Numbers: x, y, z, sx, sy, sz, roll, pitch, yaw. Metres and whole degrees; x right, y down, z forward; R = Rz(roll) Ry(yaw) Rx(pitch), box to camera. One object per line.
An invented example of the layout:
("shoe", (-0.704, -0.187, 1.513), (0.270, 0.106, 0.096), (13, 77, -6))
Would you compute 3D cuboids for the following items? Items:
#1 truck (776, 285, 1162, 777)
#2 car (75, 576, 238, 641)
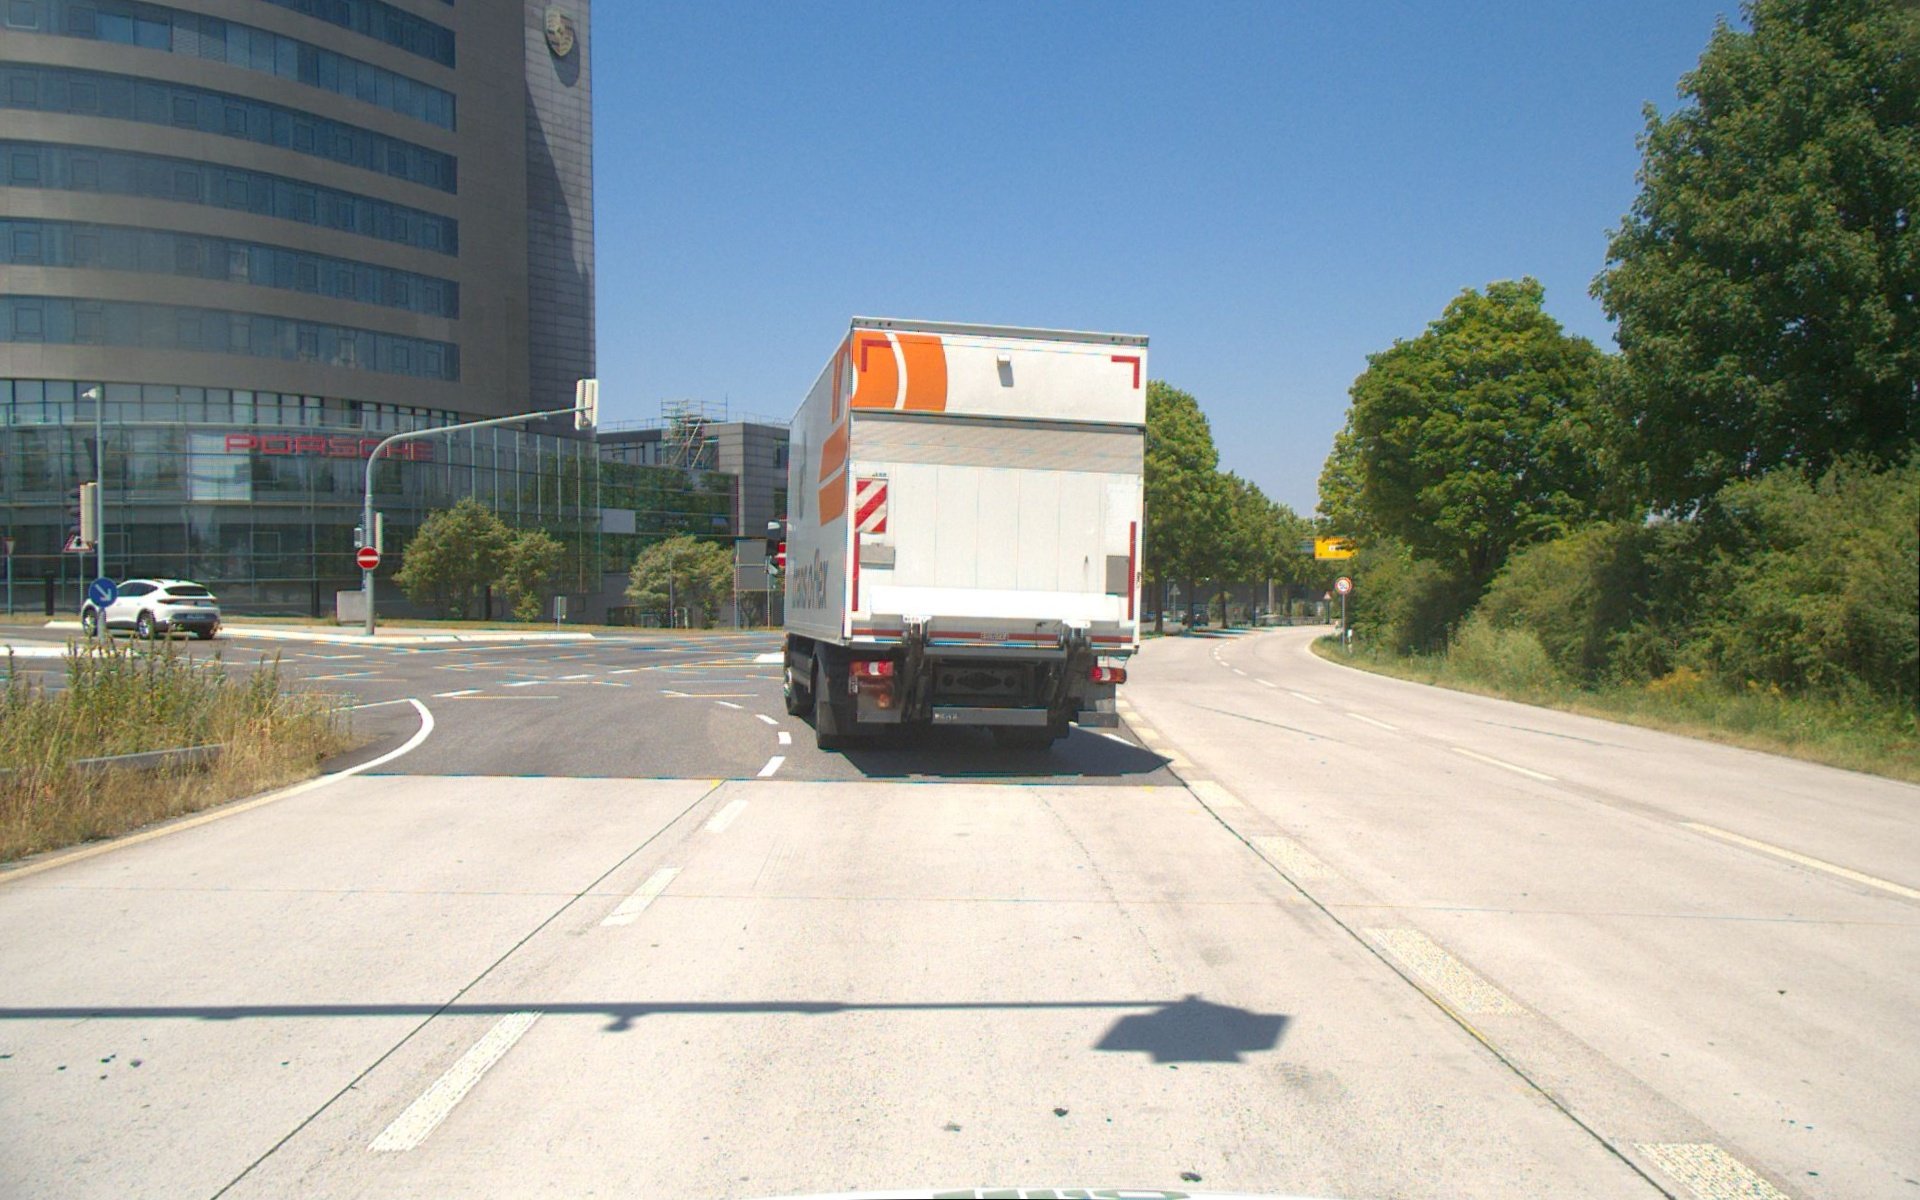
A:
("truck", (-0.413, -0.535, 18.030), (2.718, 3.927, 9.350), (0, 0, -9))
("car", (-20.877, 0.205, 42.977), (3.910, 1.584, 1.806), (1, -1, 27))
